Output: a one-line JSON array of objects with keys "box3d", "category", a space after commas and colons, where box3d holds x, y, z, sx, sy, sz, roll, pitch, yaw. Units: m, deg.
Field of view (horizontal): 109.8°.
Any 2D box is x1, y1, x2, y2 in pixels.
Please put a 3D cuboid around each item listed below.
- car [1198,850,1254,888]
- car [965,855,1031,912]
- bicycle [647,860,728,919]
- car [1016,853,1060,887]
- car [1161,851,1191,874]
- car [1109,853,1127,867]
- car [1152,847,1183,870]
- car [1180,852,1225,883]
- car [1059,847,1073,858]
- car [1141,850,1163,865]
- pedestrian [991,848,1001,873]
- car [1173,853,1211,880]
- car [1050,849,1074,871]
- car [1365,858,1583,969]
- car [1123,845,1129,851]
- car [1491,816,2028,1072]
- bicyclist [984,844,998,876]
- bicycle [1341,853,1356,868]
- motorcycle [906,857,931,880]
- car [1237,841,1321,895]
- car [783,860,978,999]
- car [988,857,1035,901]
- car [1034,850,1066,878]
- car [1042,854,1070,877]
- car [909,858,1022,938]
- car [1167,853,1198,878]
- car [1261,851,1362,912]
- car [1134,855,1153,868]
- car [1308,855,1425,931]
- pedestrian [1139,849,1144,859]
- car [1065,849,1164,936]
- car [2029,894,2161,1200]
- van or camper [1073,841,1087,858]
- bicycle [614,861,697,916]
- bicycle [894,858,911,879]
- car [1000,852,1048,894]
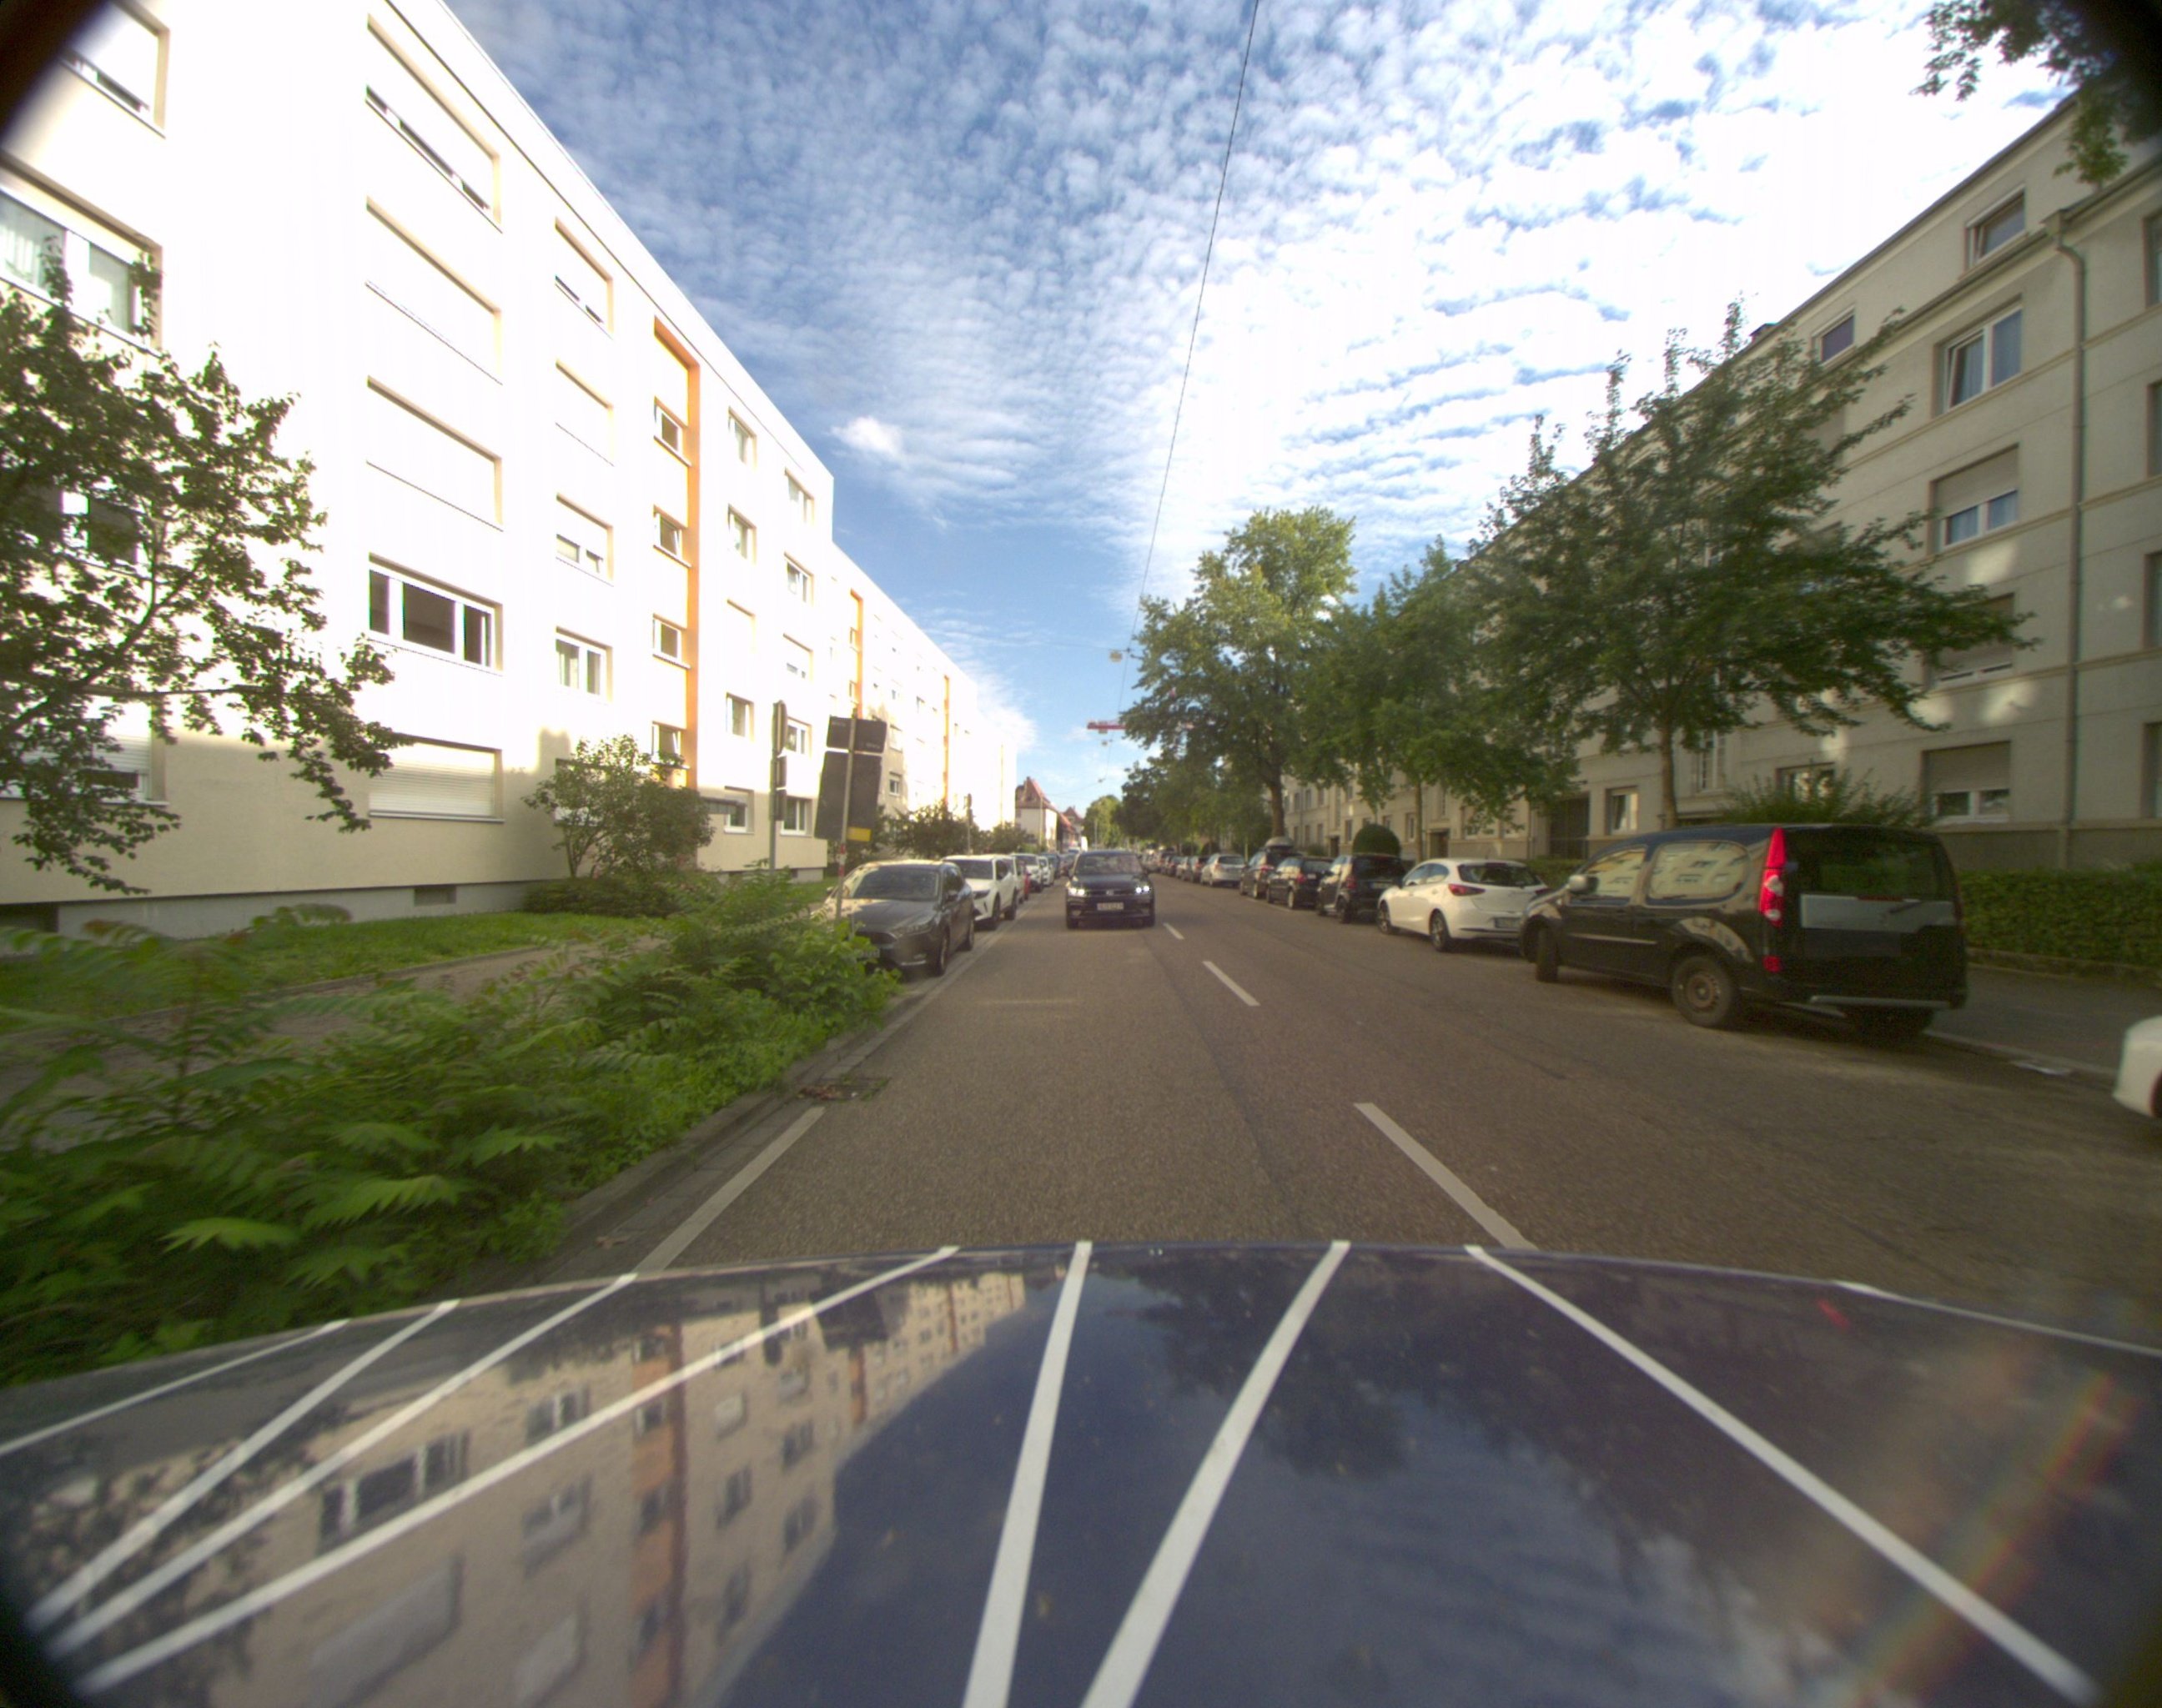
[{"box3d": [6.784, 0.680, 35.923, 1.743, 1.611, 3.994, 3, 0, -1], "category": "car"}, {"box3d": [-2.450, 0.830, 23.131, 1.555, 1.548, 3.468, 2, 0, 0], "category": "car"}, {"box3d": [-8.829, 0.755, 17.153, 0.598, 1.180, 2.209, 4, 1, 1], "category": "bicycle"}, {"box3d": [-2.063, 0.759, 37.903, 1.732, 1.479, 4.641, 1, 1, 2], "category": "car"}, {"box3d": [6.974, 0.610, 56.027, 1.689, 1.472, 4.119, 4, 1, 2], "category": "car"}, {"box3d": [4.110, 0.644, 84.764, 1.863, 1.520, 4.011, 0, 0, 2], "category": "car"}, {"box3d": [6.998, 0.330, 61.812, 1.882, 1.782, 4.970, 3, 1, 0], "category": "car"}, {"box3d": [6.487, 0.684, 40.788, 1.618, 1.460, 4.013, 3, 0, -1], "category": "car"}, {"box3d": [-2.078, -0.221, 107.649, 1.767, 1.515, 4.330, 0, 0, 3], "category": "car"}, {"box3d": [7.270, 0.363, 78.268, 1.742, 1.385, 4.665, 3, 1, 0], "category": "car"}, {"box3d": [-5.945, 0.452, 53.205, 0.543, 1.711, 0.771, 0, 1, 6], "category": "pedestrian"}, {"box3d": [6.585, 0.734, 45.491, 1.604, 1.410, 3.963, 3, 1, -1], "category": "car"}, {"box3d": [-1.504, 0.434, 58.725, 1.733, 1.506, 4.189, 1, 1, -2], "category": "car"}, {"box3d": [6.389, 0.856, 12.981, 1.698, 1.484, 4.333, 2, 0, 4], "category": "car"}, {"box3d": [14.094, -1.954, 237.495, 1.834, 1.659, 4.083, -4, 1, 1], "category": "car"}, {"box3d": [6.236, 0.666, 7.824, 1.727, 1.871, 4.191, 2, 0, 0], "category": "car"}, {"box3d": [-4.662, 0.300, 39.504, 0.625, 1.668, 0.893, 0, 1, 0], "category": "bicyclist"}, {"box3d": [18.991, 0.435, 54.019, 0.543, 1.050, 1.541, 0, 1, 0], "category": "bicycle"}, {"box3d": [-7.687, 0.673, 36.004, 0.632, 1.038, 2.393, 2, 0, 0], "category": "motorcycle"}, {"box3d": [6.754, 0.431, 26.409, 1.803, 1.658, 4.482, 3, 0, 2], "category": "car"}, {"box3d": [-2.609, 0.899, 10.916, 1.694, 1.519, 4.237, 1, 0, 0], "category": "car"}, {"box3d": [-2.435, 0.847, 27.337, 1.519, 1.390, 3.674, 1, 1, -3], "category": "car"}, {"box3d": [-1.927, 0.598, 48.684, 1.733, 1.640, 4.116, 2, 1, 1], "category": "car"}, {"box3d": [-1.717, 0.772, 53.532, 1.733, 1.452, 4.116, 1, 1, 0], "category": "car"}, {"box3d": [-2.468, 0.894, 17.283, 1.693, 1.519, 4.238, 0, 0, 3], "category": "car"}, {"box3d": [6.801, 0.706, 51.163, 1.689, 1.472, 4.452, 4, 1, 4], "category": "car"}, {"box3d": [6.356, 0.694, 21.351, 1.704, 1.478, 3.848, 3, 0, 2], "category": "car"}, {"box3d": [7.590, 0.883, 92.252, 1.860, 1.477, 4.798, 4, 1, 1], "category": "car"}, {"box3d": [6.401, 0.812, 17.369, 1.556, 1.511, 3.016, 3, 0, 2], "category": "car"}, {"box3d": [10.081, -0.009, 125.776, 0.743, 1.758, 0.775, 0, 1, 0], "category": "pedestrian"}, {"box3d": [0.619, 0.743, 16.892, 1.860, 1.673, 3.999, 0, 0, -2], "category": "car"}, {"box3d": [6.235, 1.017, 2.362, 1.803, 1.485, 3.803, 3, 0, 2], "category": "car"}, {"box3d": [-0.192, -0.761, 125.937, 2.165, 2.512, 5.913, 3, 1, 0], "category": "van or camper"}, {"box3d": [-9.648, 0.750, 17.350, 0.598, 1.108, 2.209, 2, 1, 1], "category": "bicycle"}, {"box3d": [-8.595, 0.686, 36.646, 0.460, 0.936, 1.516, 2, 1, 0], "category": "bicycle"}, {"box3d": [-2.323, 0.742, 32.048, 1.733, 1.571, 4.116, 1, 1, -1], "category": "car"}]
